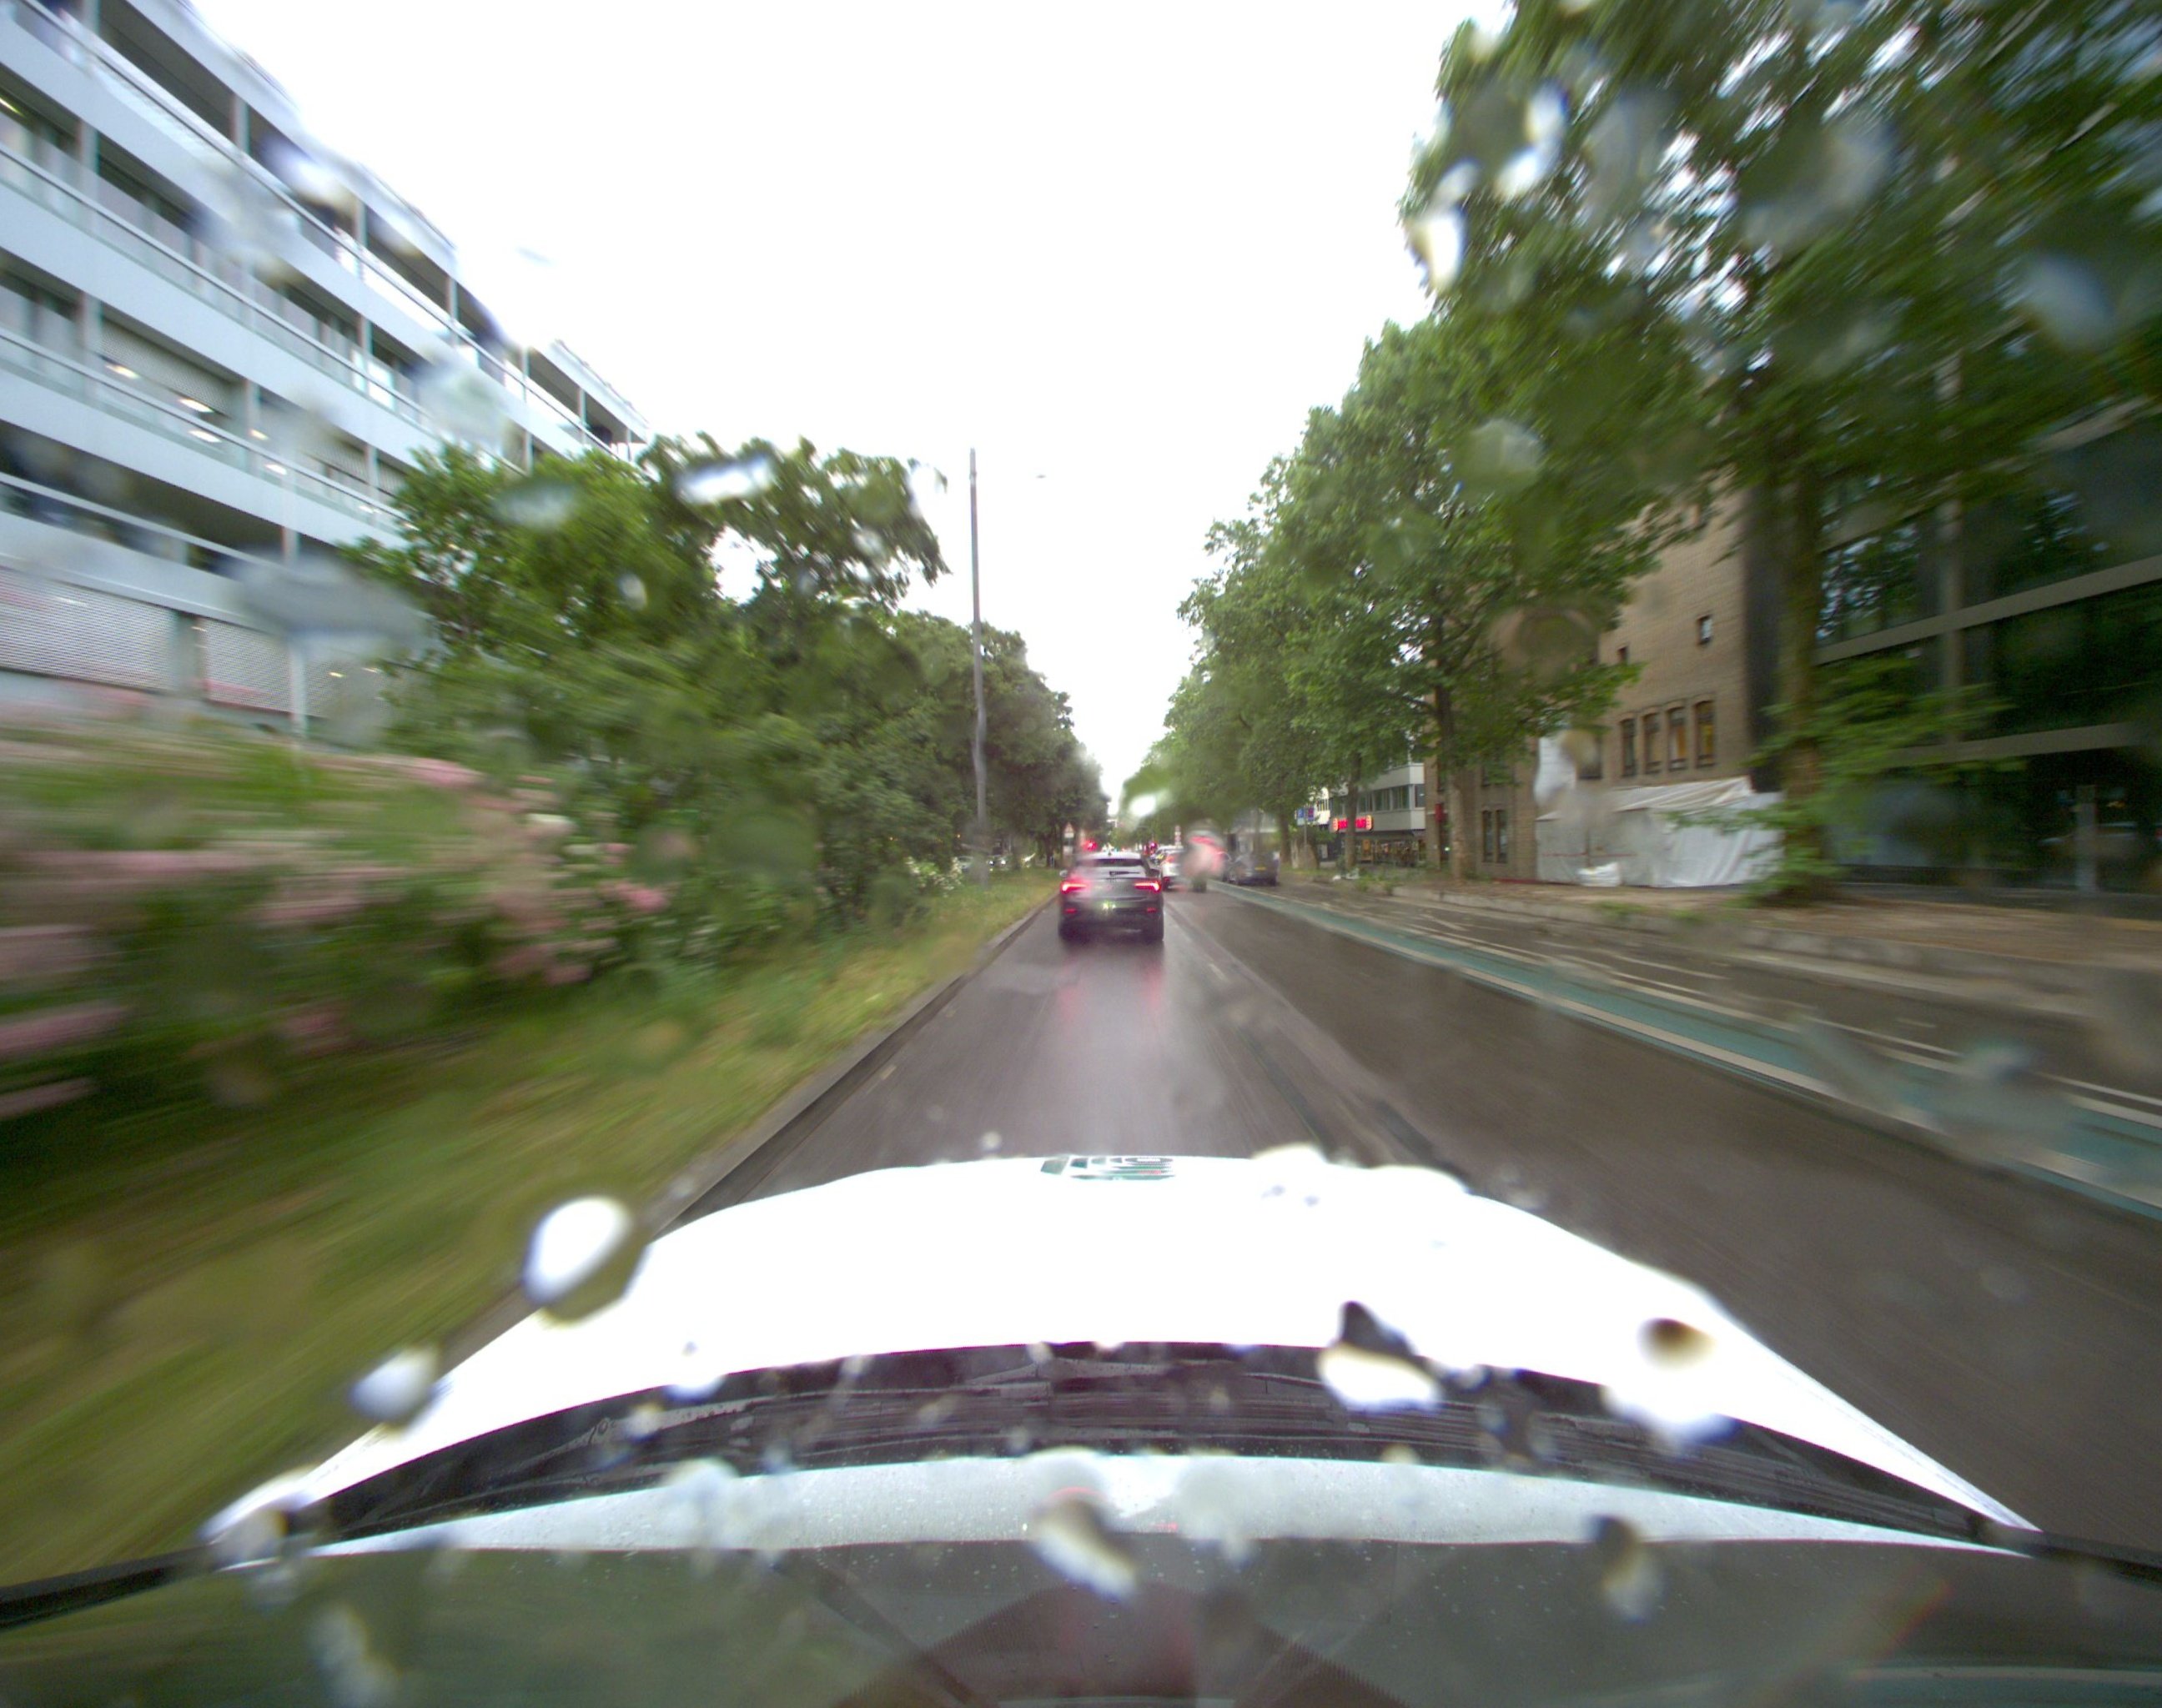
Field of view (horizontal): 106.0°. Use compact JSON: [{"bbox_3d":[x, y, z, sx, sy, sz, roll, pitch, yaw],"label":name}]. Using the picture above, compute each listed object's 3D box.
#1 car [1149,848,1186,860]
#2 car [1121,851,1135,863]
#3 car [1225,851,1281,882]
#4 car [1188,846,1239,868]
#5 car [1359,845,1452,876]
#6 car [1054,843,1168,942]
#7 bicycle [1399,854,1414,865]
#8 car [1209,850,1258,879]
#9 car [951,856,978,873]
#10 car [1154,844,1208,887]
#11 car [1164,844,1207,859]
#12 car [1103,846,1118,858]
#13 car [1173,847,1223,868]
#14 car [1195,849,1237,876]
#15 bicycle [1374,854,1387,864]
[{"bbox_3d":[11.835,0.001,111.697,4.594,1.706,2.012,0,-1,29],"label":"car"},{"bbox_3d":[7.071,0.449,122.286,1.986,1.651,4.002,0,-1,2],"label":"car"},{"bbox_3d":[8.282,0.579,39.622,1.866,1.421,4.612,0,0,1],"label":"car"},{"bbox_3d":[13.924,0.276,85.649,4.834,2.254,2.012,0,-1,30],"label":"car"},{"bbox_3d":[11.625,0.237,29.182,2.856,1.074,1.465,0,-1,32],"label":"car"},{"bbox_3d":[0.520,0.633,15.317,1.843,1.602,4.000,-1,0,1],"label":"car"},{"bbox_3d":[25.751,0.425,64.416,0.446,0.836,2.027,0,-1,2],"label":"bicycle"},{"bbox_3d":[8.445,0.561,45.510,1.861,1.520,4.558,0,-1,0],"label":"car"},{"bbox_3d":[-10.478,0.912,73.549,1.642,1.435,3.815,-1,-1,3],"label":"car"},{"bbox_3d":[4.086,0.465,33.929,1.871,1.697,4.001,0,-1,2],"label":"car"},{"bbox_3d":[12.524,-0.310,97.522,4.594,1.706,2.012,0,-1,29],"label":"car"},{"bbox_3d":[4.085,-0.246,113.947,1.986,1.726,4.000,0,-1,1],"label":"car"},{"bbox_3d":[11.582,0.307,80.542,4.548,2.014,1.980,0,-1,40],"label":"car"},{"bbox_3d":[8.290,0.507,50.211,1.723,1.571,4.069,0,-1,-3],"label":"car"},{"bbox_3d":[25.731,0.458,70.063,0.446,0.836,2.027,0,-1,2],"label":"bicycle"}]
